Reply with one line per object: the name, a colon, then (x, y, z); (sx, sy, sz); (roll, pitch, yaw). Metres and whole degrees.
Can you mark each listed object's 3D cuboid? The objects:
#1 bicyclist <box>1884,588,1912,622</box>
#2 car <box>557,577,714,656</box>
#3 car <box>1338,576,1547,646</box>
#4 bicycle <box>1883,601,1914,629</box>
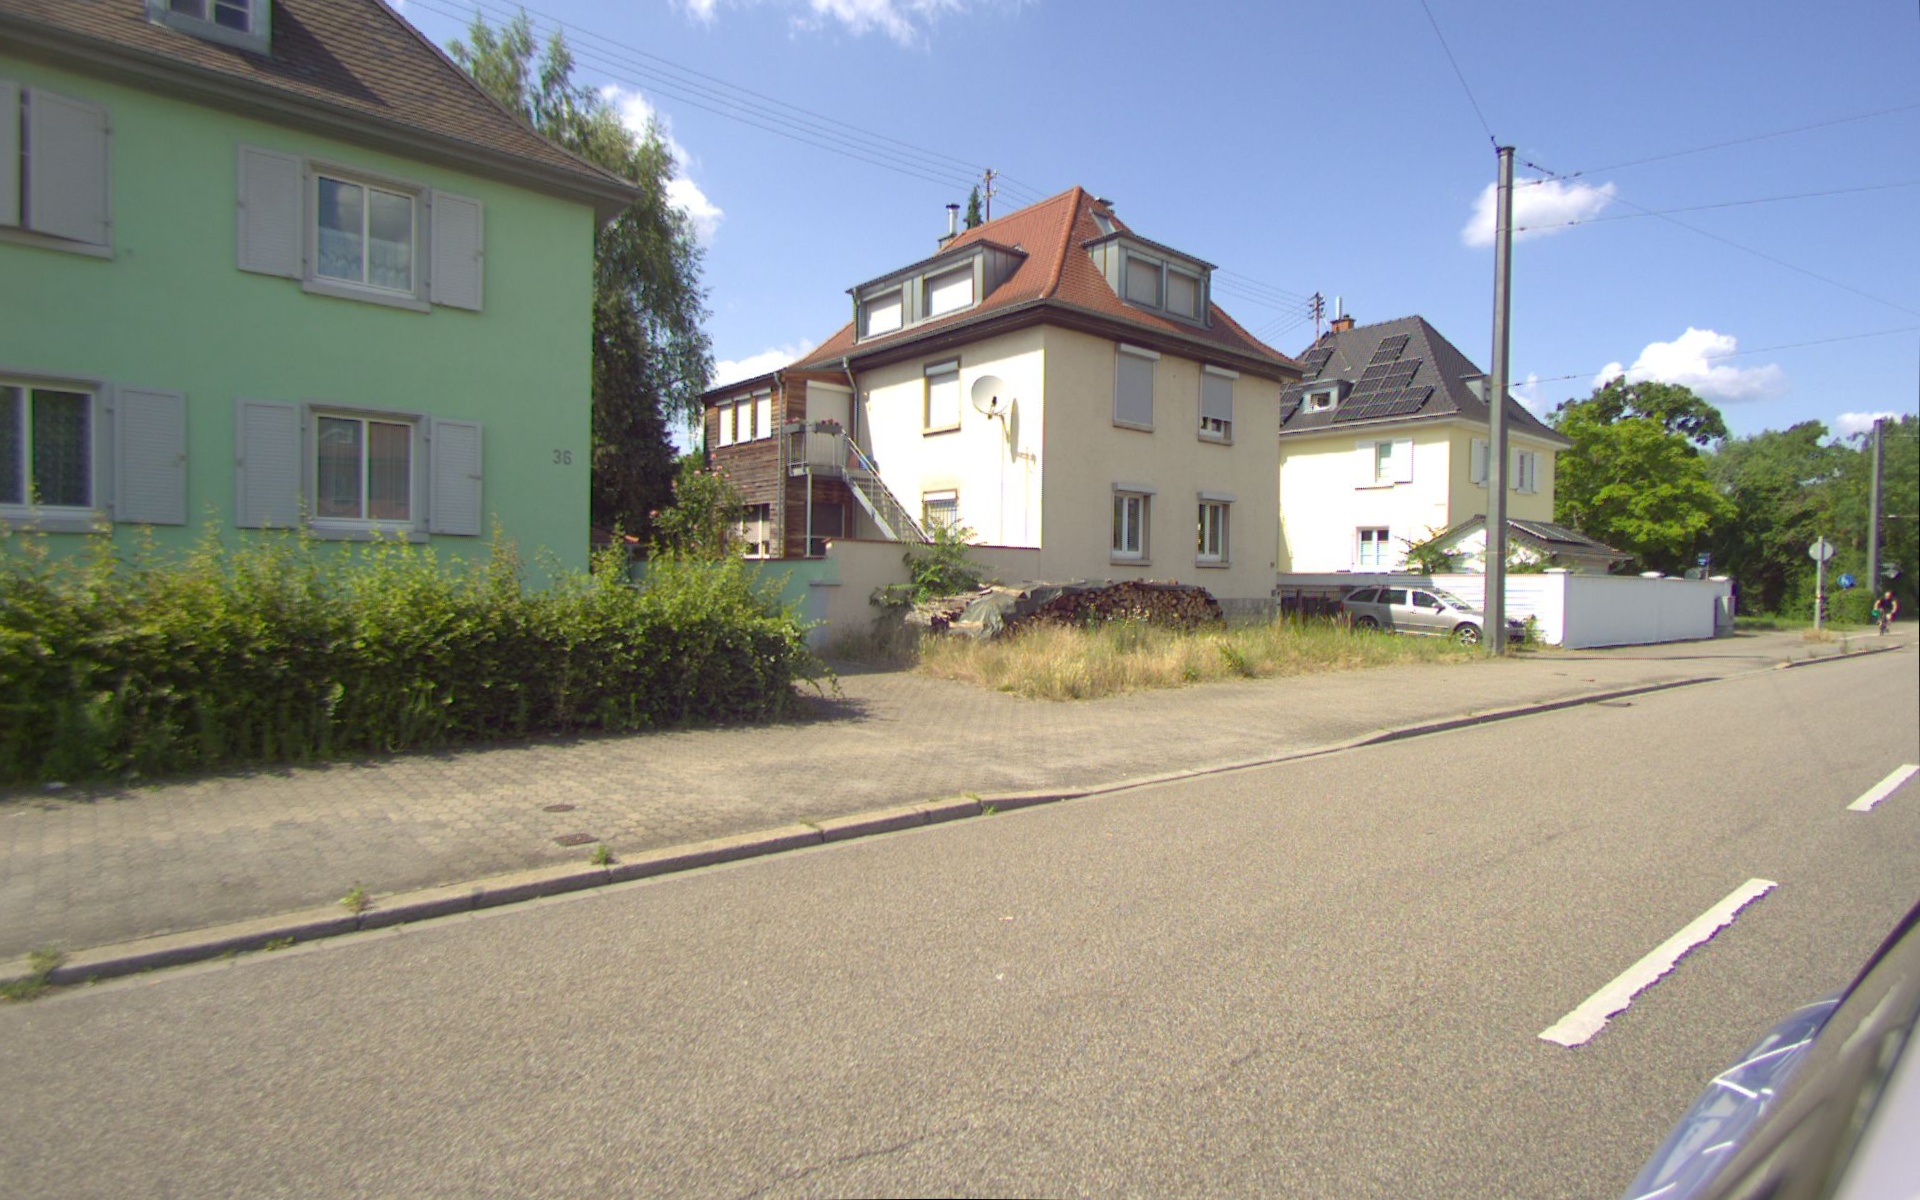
bicyclist: (37.533, 0.192, 40.492); (0.652, 1.370, 0.691); (0, 1, -33)
car: (-6.832, 0.323, 21.075); (1.708, 1.466, 3.993); (0, 0, -40)
car: (12.104, 0.204, 25.648); (1.732, 1.479, 4.460); (0, 3, -39)
bicycle: (37.591, 0.593, 40.537); (1.494, 1.079, 0.557); (0, 1, -34)
